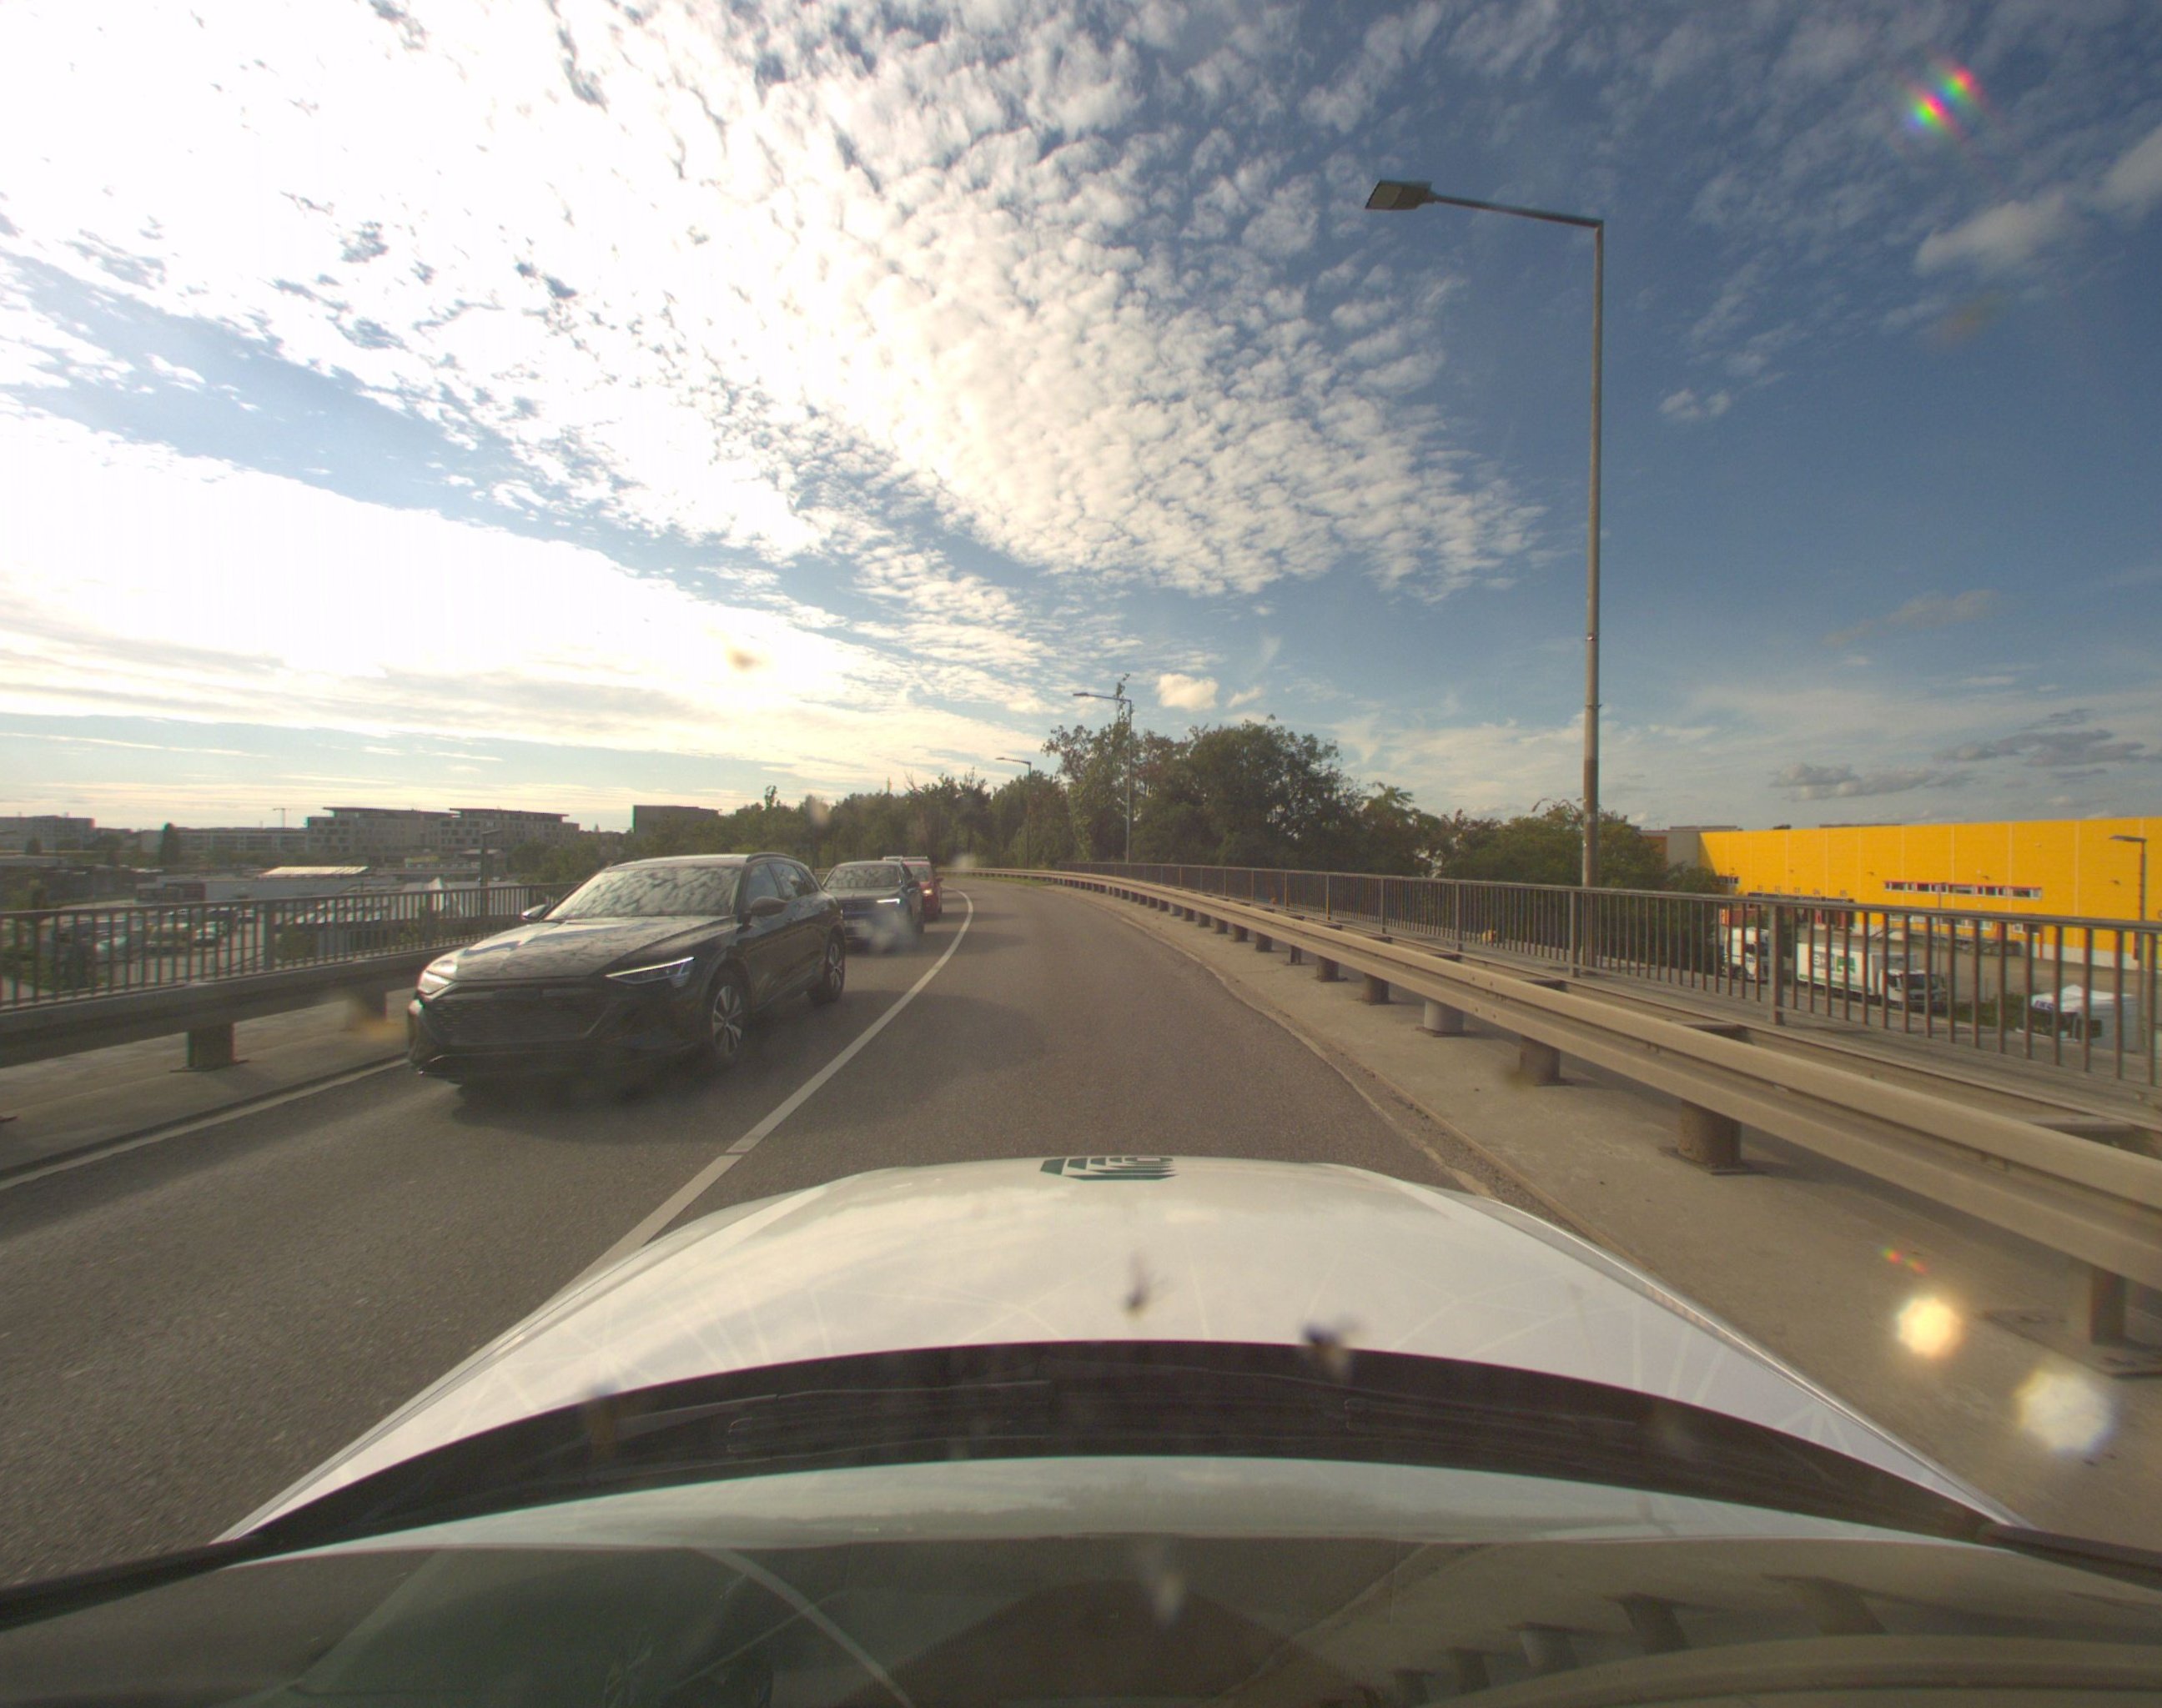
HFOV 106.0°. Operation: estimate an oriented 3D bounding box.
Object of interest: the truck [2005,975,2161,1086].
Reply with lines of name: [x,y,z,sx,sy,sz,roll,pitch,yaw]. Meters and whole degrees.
truck: [45.733,7.482,34.842,8.541,4.090,2.673,-2,1,8]
